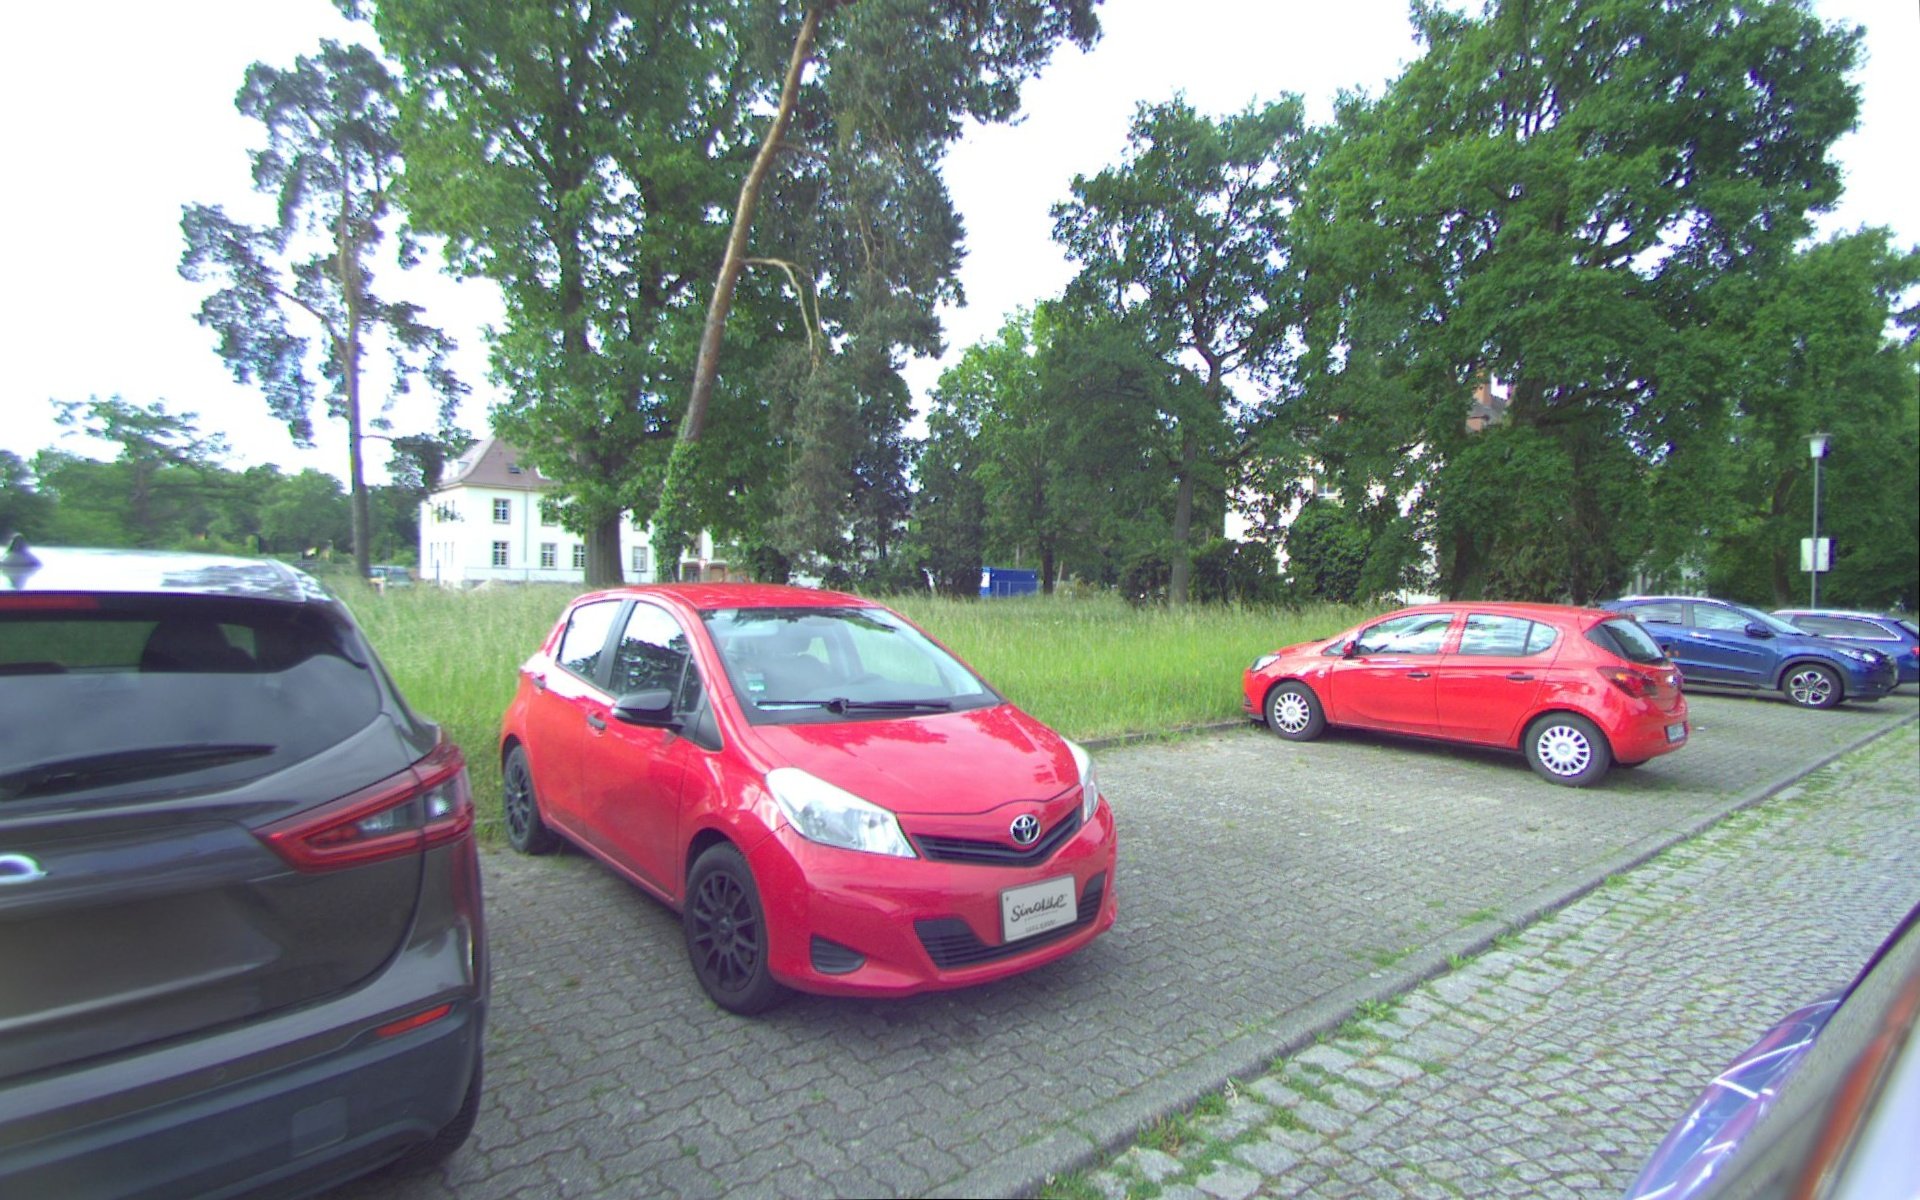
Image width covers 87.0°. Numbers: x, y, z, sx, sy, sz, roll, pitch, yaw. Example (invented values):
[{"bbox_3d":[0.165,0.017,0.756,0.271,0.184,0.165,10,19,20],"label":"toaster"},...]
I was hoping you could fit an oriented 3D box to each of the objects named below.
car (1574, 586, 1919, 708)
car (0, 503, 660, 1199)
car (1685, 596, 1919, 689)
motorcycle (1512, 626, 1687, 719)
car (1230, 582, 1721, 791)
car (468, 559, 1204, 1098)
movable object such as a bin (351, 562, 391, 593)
[{"bbox_3d":[12.443,0.638,16.226,1.555,1.557,4.147,0,2,-41],"label":"car"},{"bbox_3d":[-2.727,0.566,3.187,1.790,1.618,4.268,0,2,-41],"label":"car"},{"bbox_3d":[16.126,0.736,18.954,1.555,1.443,3.875,0,2,-41],"label":"car"},{"bbox_3d":[7.972,0.870,12.671,1.741,0.969,0.604,4,2,44],"label":"motorcycle"},{"bbox_3d":[4.737,0.638,9.757,1.555,1.478,3.892,0,2,-41],"label":"car"},{"bbox_3d":[-0.982,0.604,5.037,1.734,1.504,4.016,0,2,-40],"label":"car"},{"bbox_3d":[-39.210,-1.490,67.420,1.645,2.039,3.251,1,1,-18],"label":"movable object such as a bin"}]
